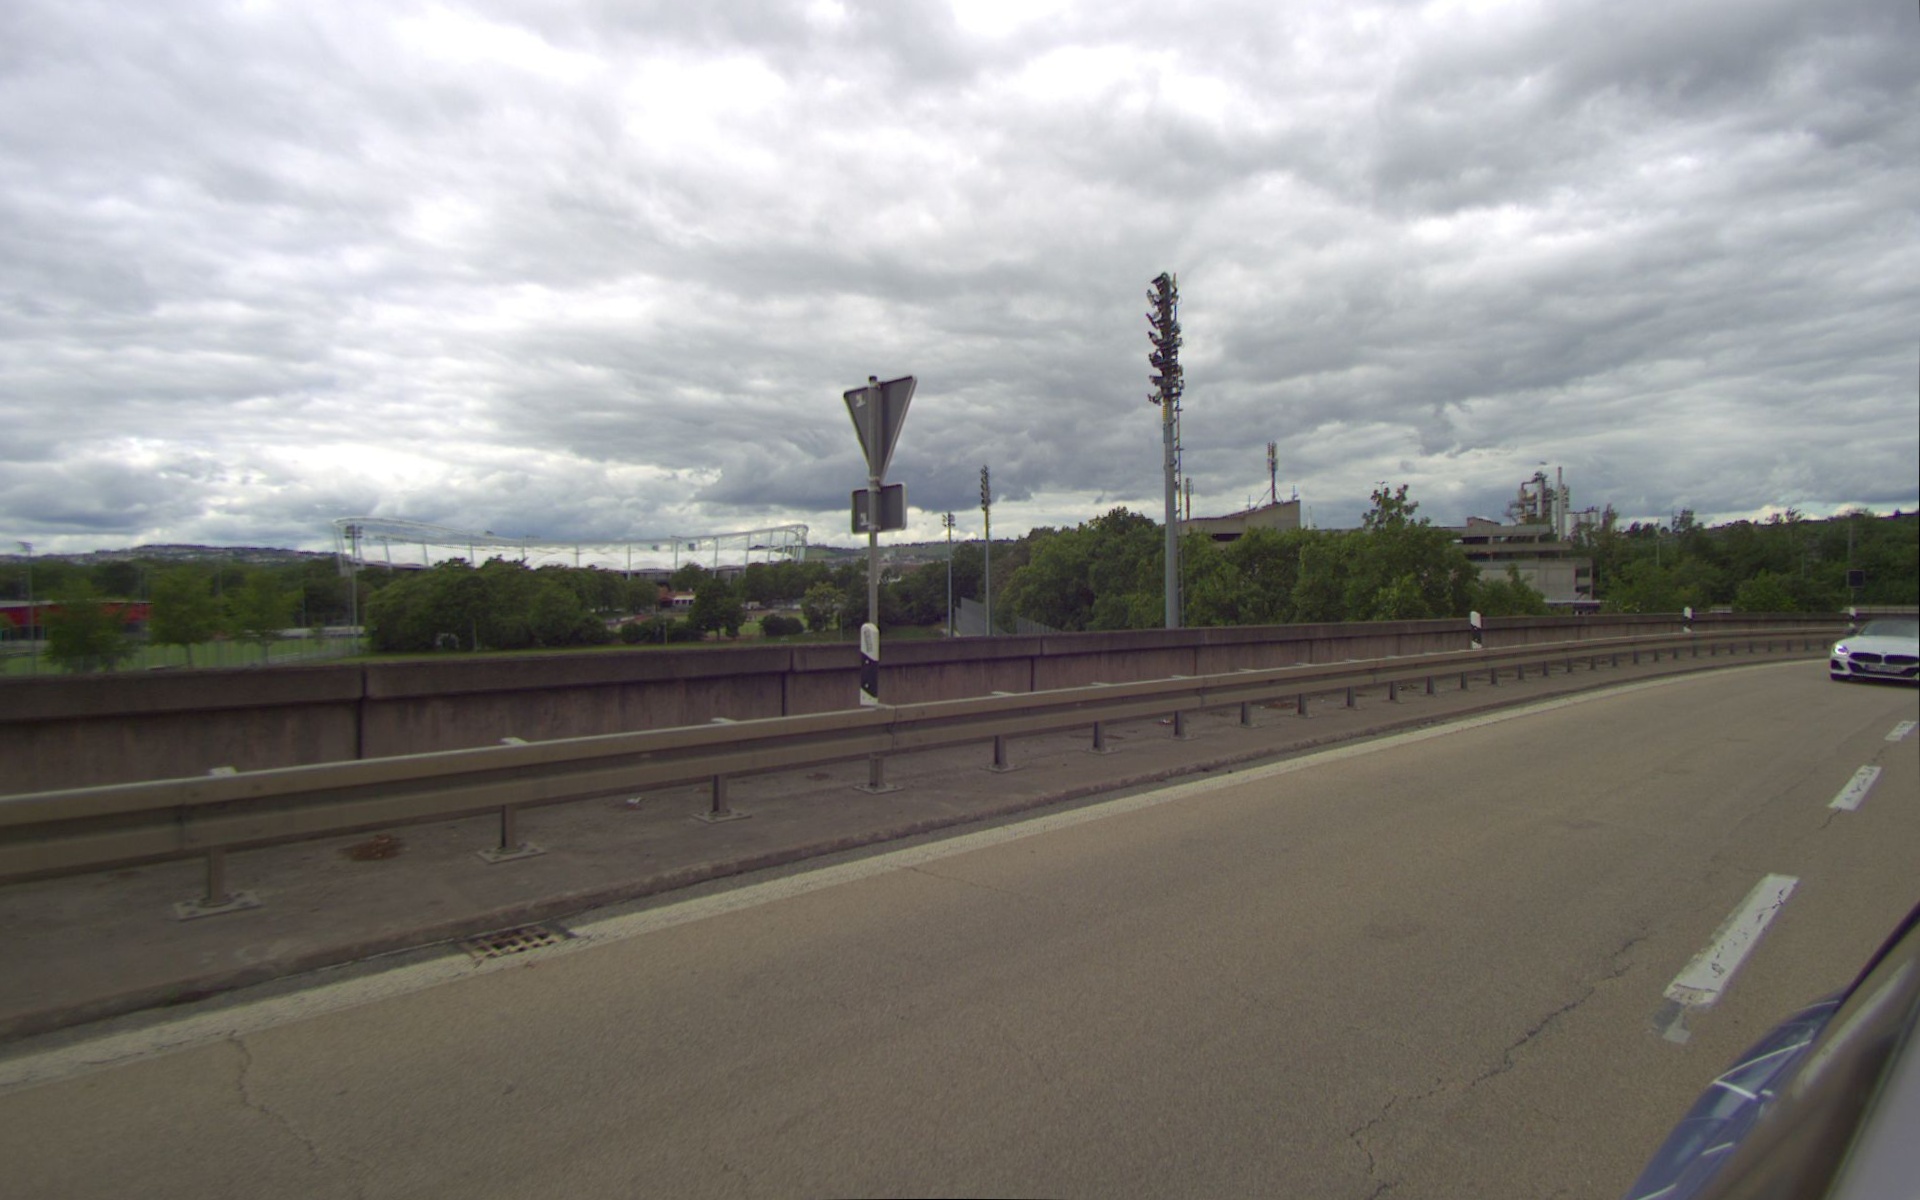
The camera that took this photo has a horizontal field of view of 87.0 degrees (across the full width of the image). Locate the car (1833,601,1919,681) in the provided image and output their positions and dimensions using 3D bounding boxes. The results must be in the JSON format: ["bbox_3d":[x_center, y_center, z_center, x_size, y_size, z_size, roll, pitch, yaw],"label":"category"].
[{"bbox_3d":[19.642,0.781,20.547,4.735,1.361,1.864,-1,4,-37],"label":"car"}]
